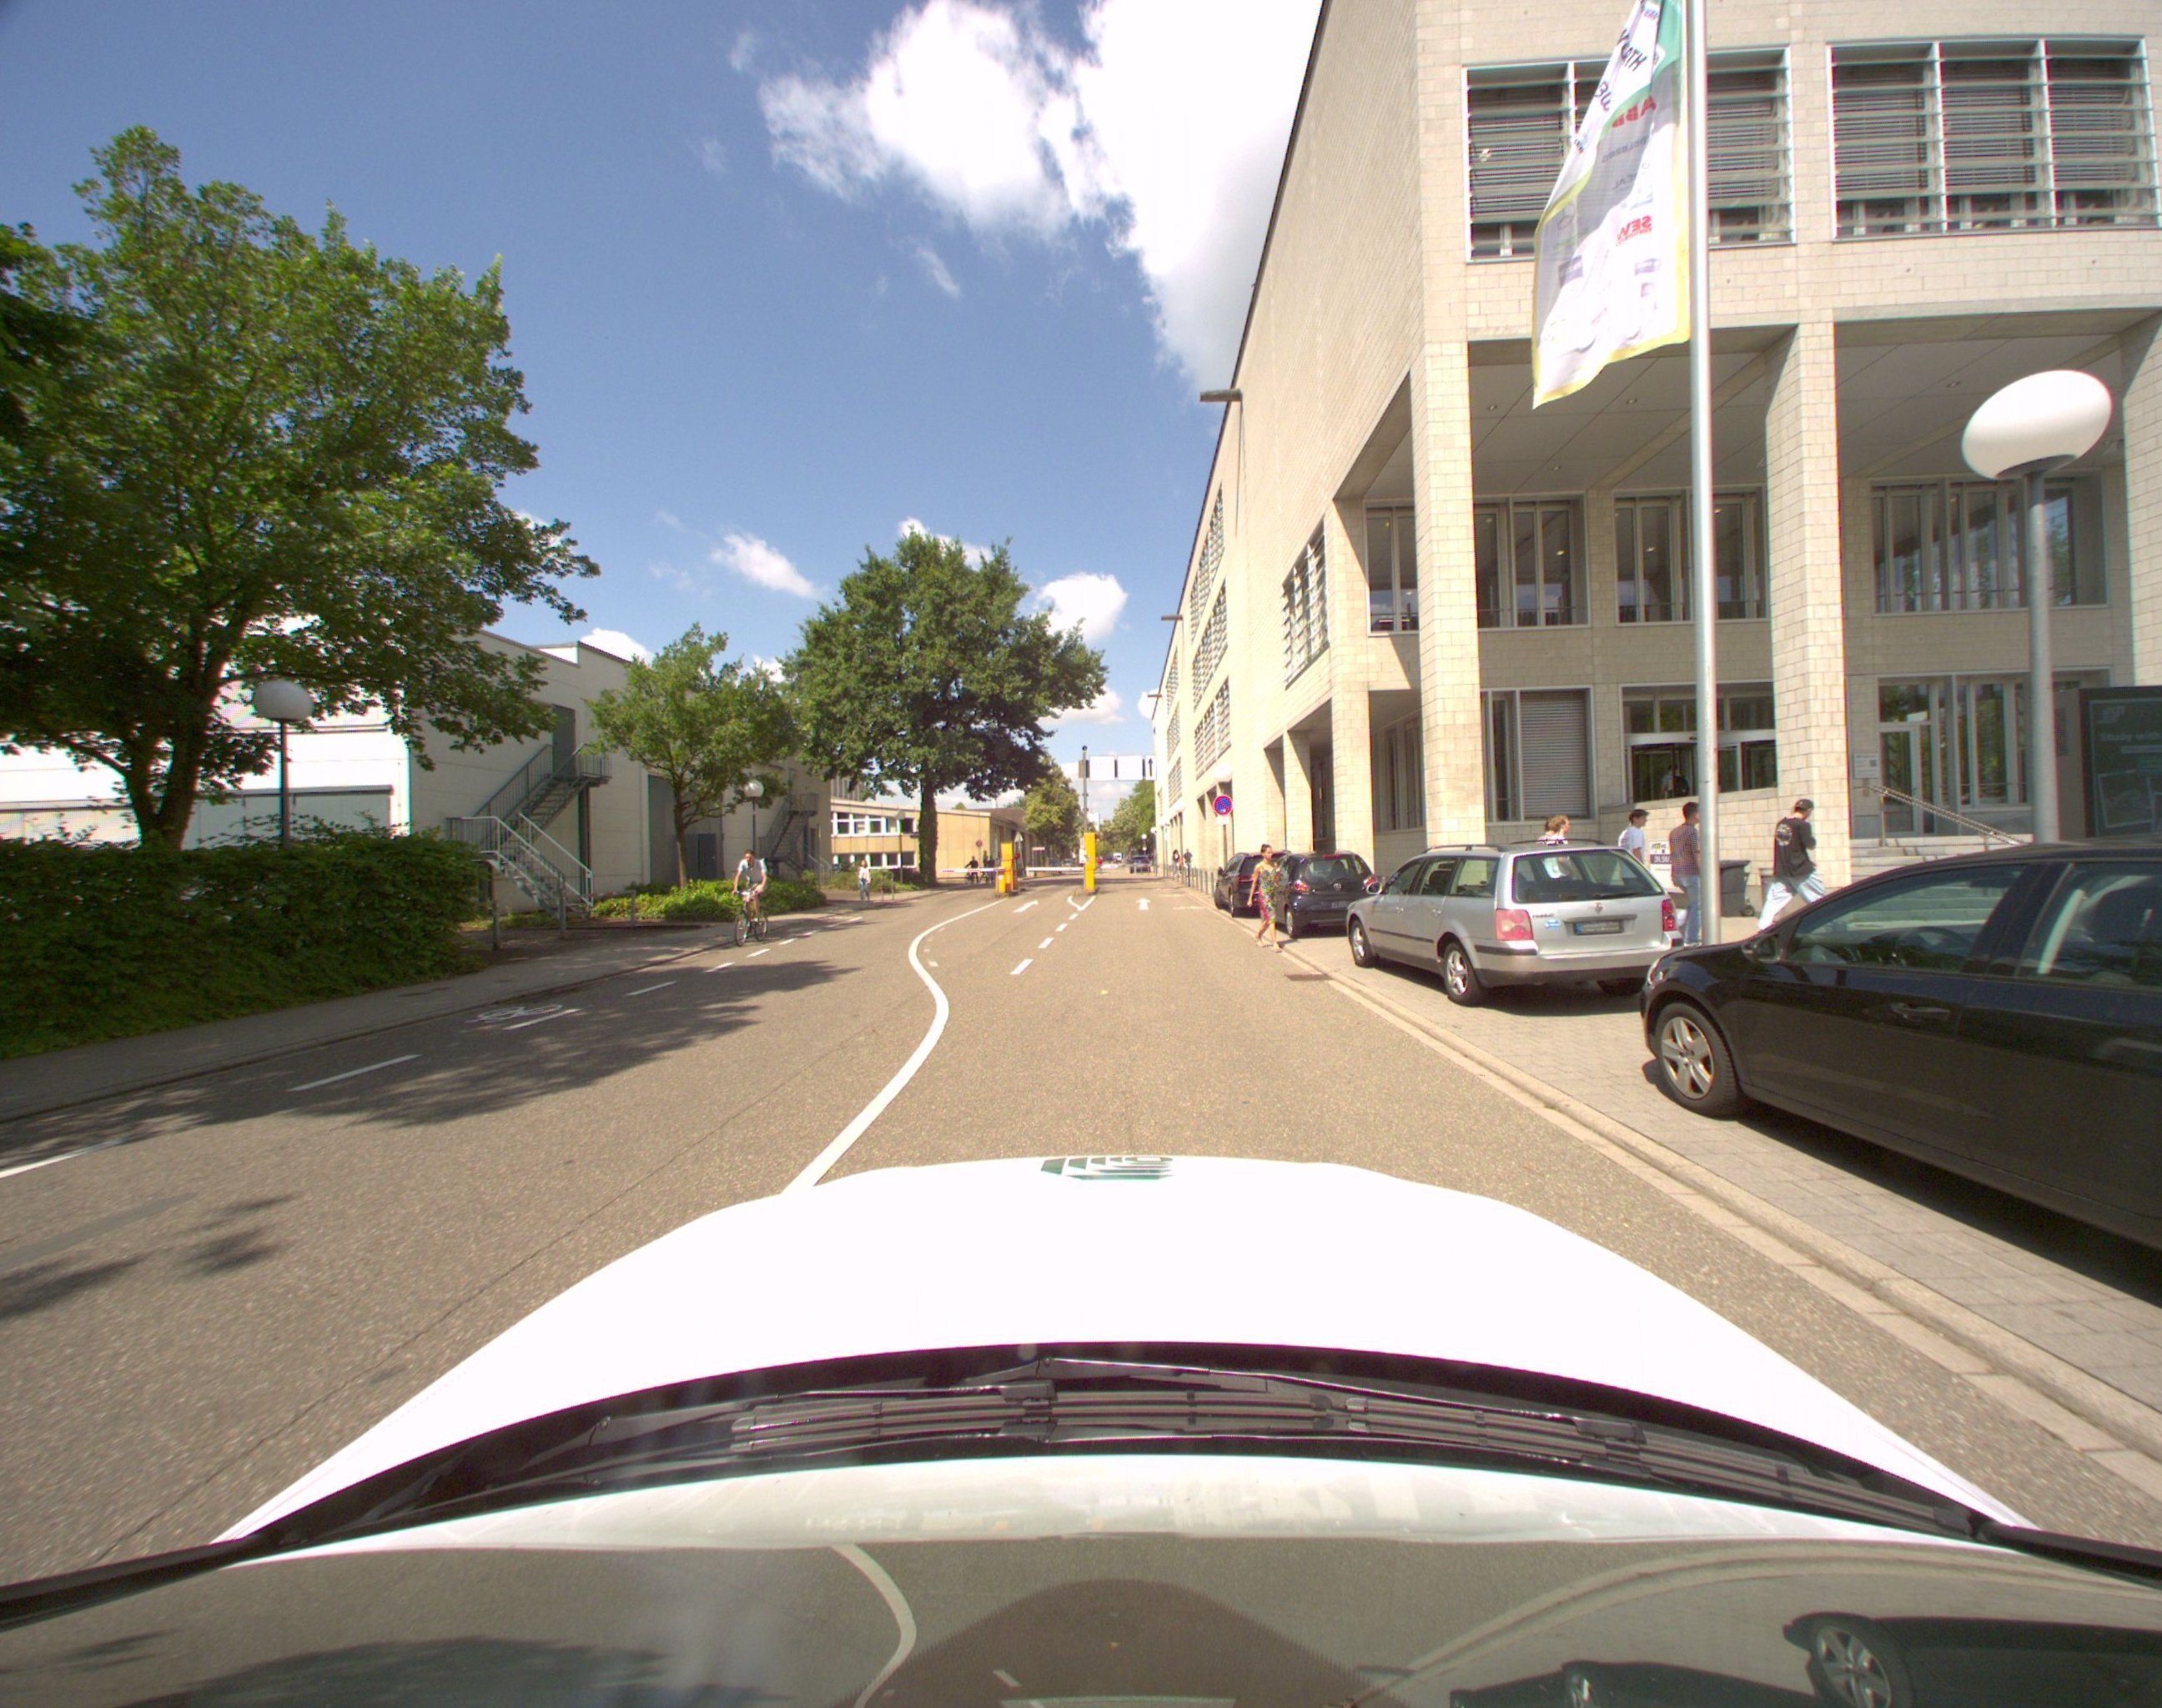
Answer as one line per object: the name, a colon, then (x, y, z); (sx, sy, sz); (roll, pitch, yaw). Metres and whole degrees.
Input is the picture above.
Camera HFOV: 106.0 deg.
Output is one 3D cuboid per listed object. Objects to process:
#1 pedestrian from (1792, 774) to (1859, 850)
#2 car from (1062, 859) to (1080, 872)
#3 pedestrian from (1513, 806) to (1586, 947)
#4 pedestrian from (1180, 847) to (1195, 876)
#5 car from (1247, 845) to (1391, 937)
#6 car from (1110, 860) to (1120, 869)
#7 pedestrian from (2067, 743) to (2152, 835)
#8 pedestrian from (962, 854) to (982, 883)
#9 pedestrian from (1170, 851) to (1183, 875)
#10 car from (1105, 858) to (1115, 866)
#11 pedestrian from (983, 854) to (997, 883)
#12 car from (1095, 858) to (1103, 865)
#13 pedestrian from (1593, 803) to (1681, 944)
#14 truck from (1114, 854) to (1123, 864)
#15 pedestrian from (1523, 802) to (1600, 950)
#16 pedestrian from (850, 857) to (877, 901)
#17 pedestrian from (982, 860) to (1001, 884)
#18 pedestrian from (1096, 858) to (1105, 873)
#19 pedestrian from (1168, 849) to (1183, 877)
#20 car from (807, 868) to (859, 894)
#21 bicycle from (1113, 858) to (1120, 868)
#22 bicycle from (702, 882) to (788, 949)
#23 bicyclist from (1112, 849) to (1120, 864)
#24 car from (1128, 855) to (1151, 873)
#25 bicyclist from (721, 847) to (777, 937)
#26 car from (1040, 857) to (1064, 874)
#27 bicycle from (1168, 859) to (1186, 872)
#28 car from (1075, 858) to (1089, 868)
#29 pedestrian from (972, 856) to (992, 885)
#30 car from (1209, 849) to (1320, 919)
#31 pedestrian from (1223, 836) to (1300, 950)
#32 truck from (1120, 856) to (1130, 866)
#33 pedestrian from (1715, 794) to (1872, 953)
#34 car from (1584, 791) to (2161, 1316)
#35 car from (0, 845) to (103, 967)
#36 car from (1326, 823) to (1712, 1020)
pedestrian: (16.286, -0.902, 17.836); (0.714, 1.585, 0.717); (-2, -2, 5)
car: (-1.312, 1.404, 103.890); (1.985, 1.546, 4.215); (-2, 0, 3)
pedestrian: (6.657, 0.313, 11.605); (0.775, 1.925, 0.739); (-2, -1, 24)
pedestrian: (6.767, 0.480, 51.863); (0.764, 1.780, 0.911); (-3, 0, 1)
car: (4.367, 0.628, 15.550); (1.608, 1.496, 4.007); (-2, 0, 1)
car: (7.437, 2.298, 177.249); (1.984, 1.720, 4.005); (-2, -2, 5)
pedestrian: (21.224, -1.330, 16.823); (0.714, 1.798, 0.717); (-2, -2, 5)
pedestrian: (-6.973, 0.946, 52.188); (1.052, 1.816, 0.806); (-2, 0, 1)
pedestrian: (6.692, 0.617, 57.354); (0.738, 1.632, 0.888); (-3, 0, 1)
car: (6.609, 1.867, 185.412); (1.984, 1.720, 4.005); (-2, -2, 5)
pedestrian: (-5.779, 0.944, 51.901); (0.702, 1.809, 1.002); (-2, 0, 1)
car: (5.345, 2.228, 236.448); (1.984, 1.720, 4.005); (-2, -2, 5)
pedestrian: (7.849, 0.272, 11.530); (0.719, 1.925, 0.753); (-2, -1, 9)
truck: (9.649, 1.240, 209.676); (1.986, 2.271, 4.616); (-2, -2, 1)
pedestrian: (6.468, 0.291, 11.002); (0.776, 1.925, 0.597); (-2, -1, 24)
pedestrian: (-8.241, 0.950, 30.879); (0.710, 1.627, 0.884); (-2, -1, 1)
pedestrian: (-6.151, 1.242, 55.938); (0.876, 1.632, 0.902); (-2, -2, 31)
pedestrian: (2.087, 1.260, 87.799); (0.891, 1.632, 0.887); (-1, -1, -1)
pedestrian: (6.006, 0.567, 51.824); (0.692, 1.780, 1.086); (-3, 0, 1)
car: (-15.485, 1.642, 51.083); (1.822, 1.467, 4.300); (-2, 0, 1)
bicycle: (5.109, 1.325, 117.121); (0.983, 1.316, 2.965); (-2, -2, 2)
bicycle: (-6.632, 1.181, 16.215); (0.690, 1.171, 2.210); (-2, -1, 2)
bicyclist: (5.062, 0.387, 117.627); (0.983, 2.132, 1.036); (-2, -2, 2)
car: (5.346, 0.883, 74.455); (1.985, 1.546, 4.215); (-2, 0, 3)
bicyclist: (-6.631, 0.745, 16.304); (0.690, 1.737, 0.919); (-2, -1, 1)
car: (-2.891, 1.139, 81.969); (1.985, 1.546, 4.215); (-2, 0, 3)
bicycle: (8.419, 0.992, 71.263); (1.534, 1.066, 0.649); (-2, -1, 10)
car: (0.154, 1.507, 132.011); (1.985, 1.546, 4.215); (-2, 0, 3)
pedestrian: (-6.655, 1.105, 55.028); (0.876, 1.925, 1.012); (-2, -2, 31)
car: (4.356, 0.665, 20.024); (1.859, 1.464, 4.523); (-2, 0, 2)
pedestrian: (2.875, 0.604, 13.041); (0.626, 1.717, 1.030); (-2, -1, -30)
truck: (9.753, 1.445, 179.270); (1.986, 2.014, 4.000); (-2, -2, 1)
pedestrian: (9.123, 0.244, 10.488); (1.090, 1.920, 1.021); (-2, -1, 3)
car: (4.027, 0.557, 3.230); (1.712, 1.529, 4.003); (-2, -1, 3)
car: (-20.088, 0.926, 13.771); (4.898, 1.986, 2.002); (-2, -2, 4)
car: (4.310, 0.568, 9.007); (1.714, 1.529, 4.565); (-3, 0, -1)
